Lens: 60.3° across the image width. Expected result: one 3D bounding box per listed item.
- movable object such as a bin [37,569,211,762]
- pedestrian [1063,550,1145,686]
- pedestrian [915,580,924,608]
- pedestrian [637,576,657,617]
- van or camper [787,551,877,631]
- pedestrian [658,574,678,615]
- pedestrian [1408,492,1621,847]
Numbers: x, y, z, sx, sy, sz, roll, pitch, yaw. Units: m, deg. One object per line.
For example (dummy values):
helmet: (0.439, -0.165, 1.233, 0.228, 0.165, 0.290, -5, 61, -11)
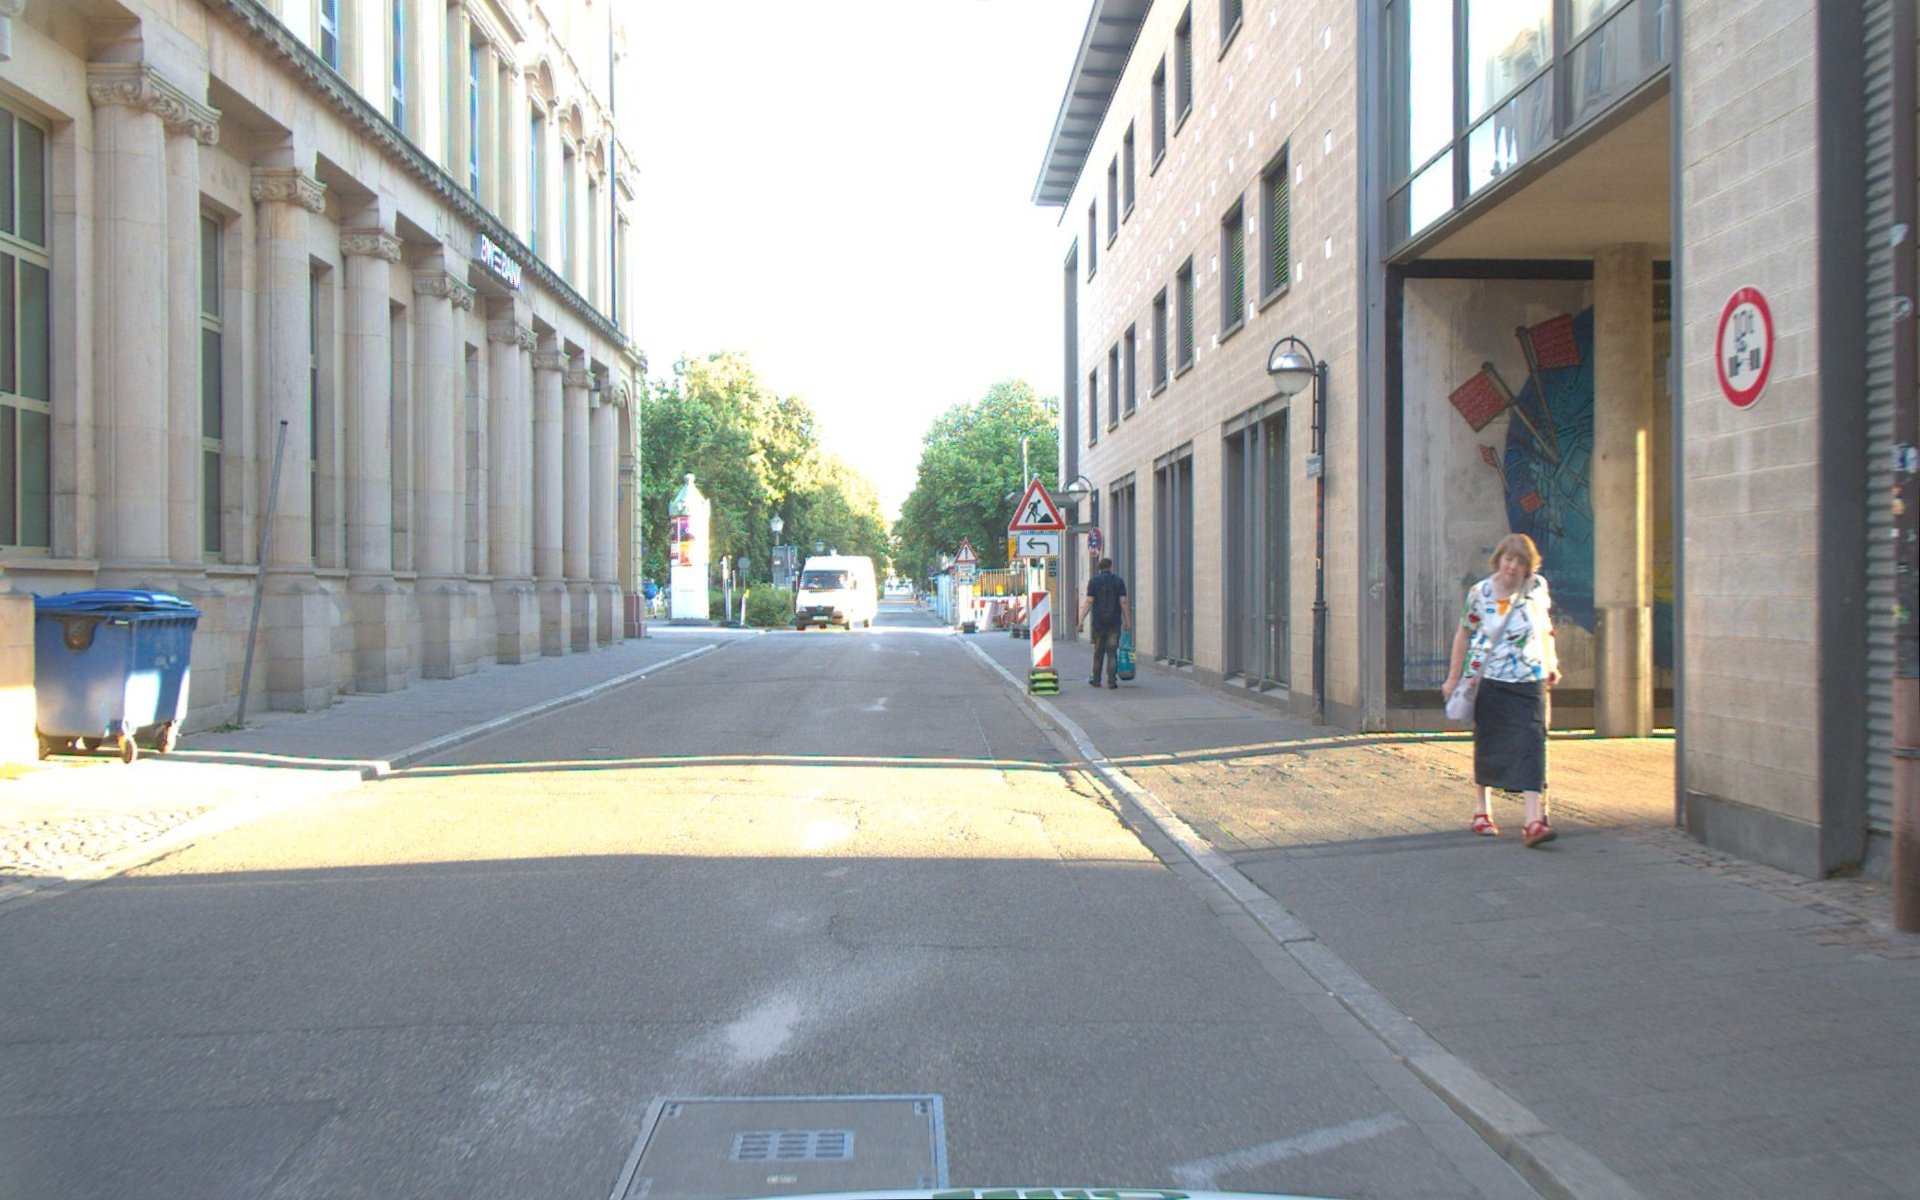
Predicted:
movable object such as a bin: (-6.931, 0.512, 13.780, 0.812, 1.529, 1.291, 0, 1, -1)
pedestrian: (2.006, 0.251, 23.172, 0.981, 1.835, 0.881, -1, -1, -3)
pedestrian: (-2.996, -0.460, 121.849, 0.570, 2.049, 0.680, 0, 0, -10)
pedestrian: (-14.103, -0.156, 74.599, 0.836, 1.839, 0.661, 0, 0, -15)
van or camper: (-4.377, -0.330, 57.608, 2.172, 2.630, 6.376, 0, 1, 5)
pedestrian: (-13.221, -0.254, 74.935, 0.836, 1.839, 0.661, 0, 0, -15)
pedestrian: (3.057, 0.367, 9.204, 0.828, 1.834, 0.897, -3, 0, 2)
